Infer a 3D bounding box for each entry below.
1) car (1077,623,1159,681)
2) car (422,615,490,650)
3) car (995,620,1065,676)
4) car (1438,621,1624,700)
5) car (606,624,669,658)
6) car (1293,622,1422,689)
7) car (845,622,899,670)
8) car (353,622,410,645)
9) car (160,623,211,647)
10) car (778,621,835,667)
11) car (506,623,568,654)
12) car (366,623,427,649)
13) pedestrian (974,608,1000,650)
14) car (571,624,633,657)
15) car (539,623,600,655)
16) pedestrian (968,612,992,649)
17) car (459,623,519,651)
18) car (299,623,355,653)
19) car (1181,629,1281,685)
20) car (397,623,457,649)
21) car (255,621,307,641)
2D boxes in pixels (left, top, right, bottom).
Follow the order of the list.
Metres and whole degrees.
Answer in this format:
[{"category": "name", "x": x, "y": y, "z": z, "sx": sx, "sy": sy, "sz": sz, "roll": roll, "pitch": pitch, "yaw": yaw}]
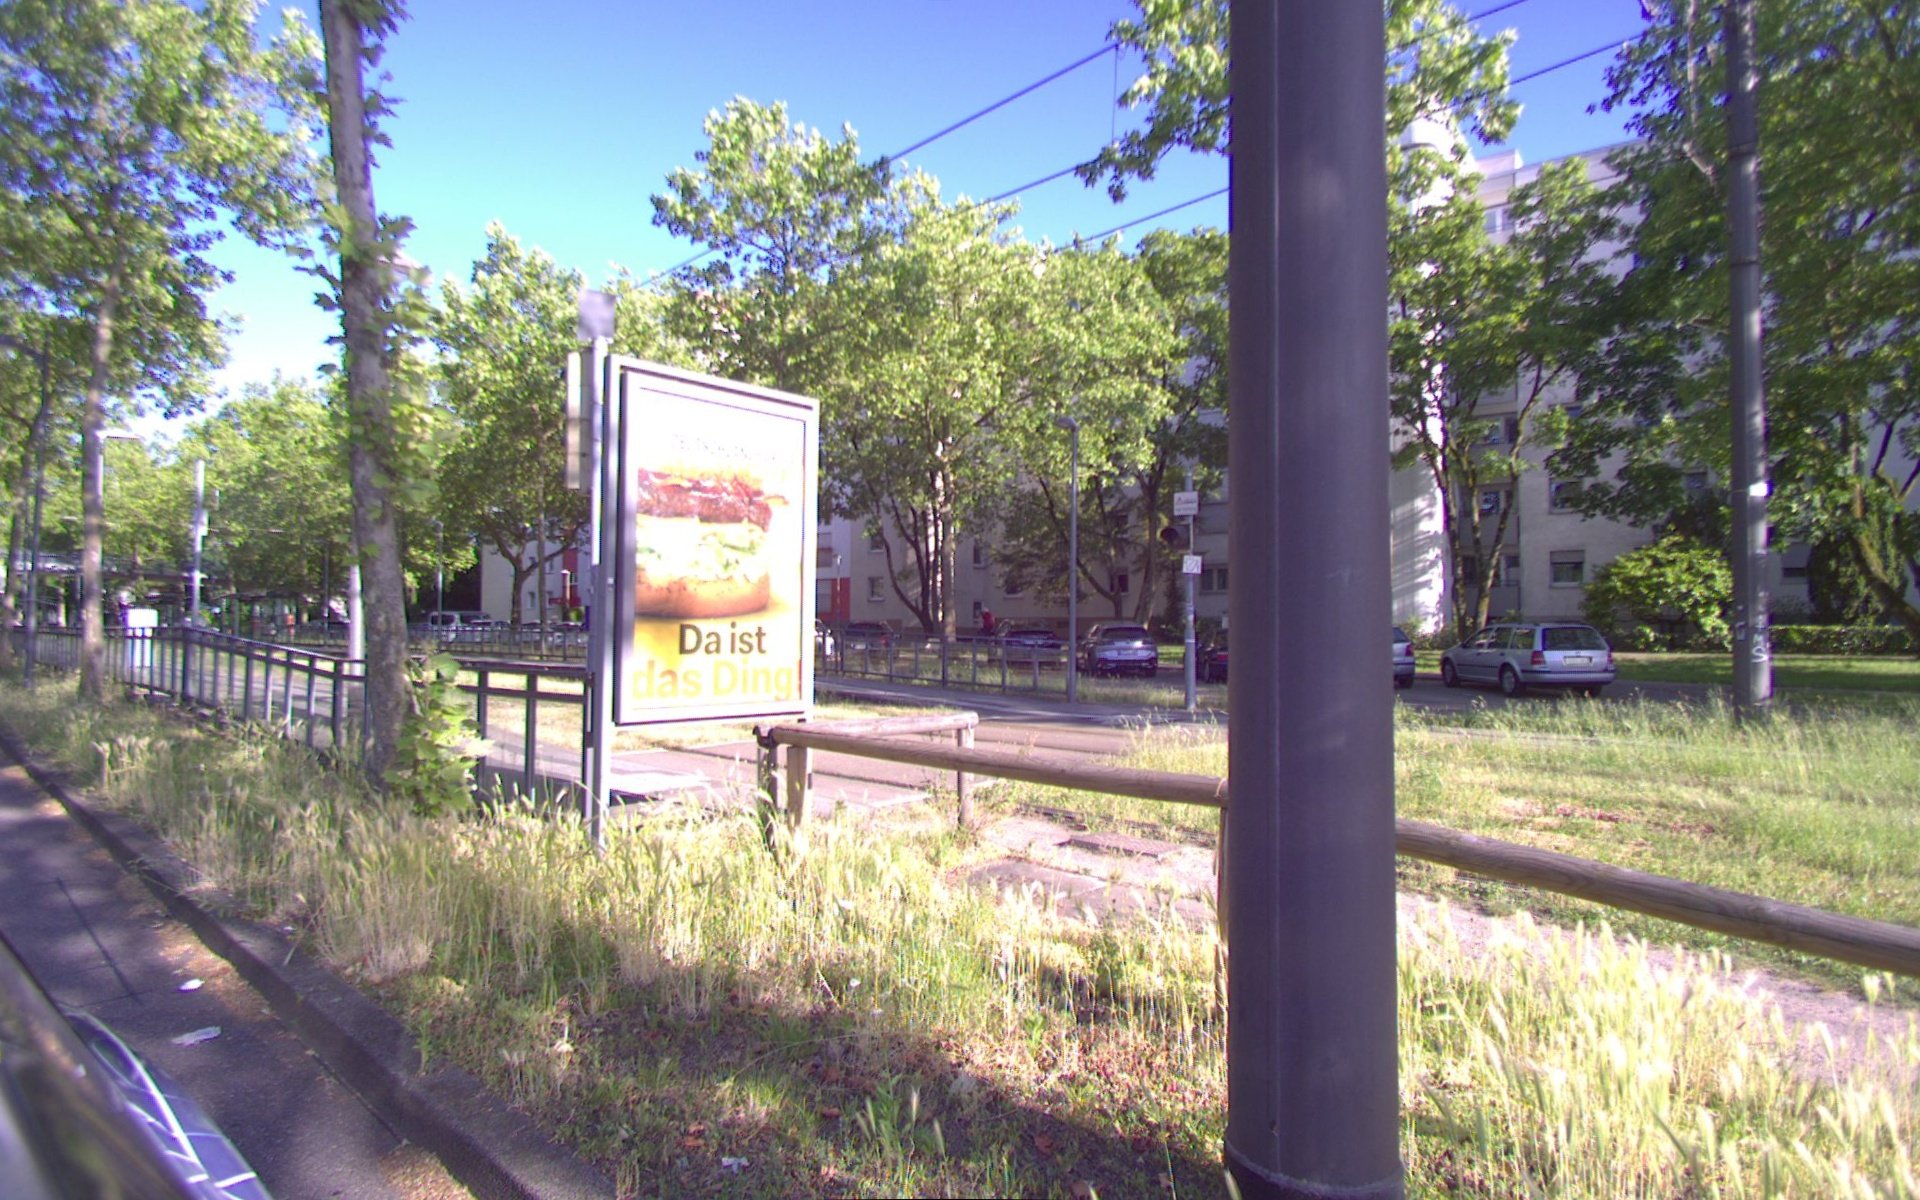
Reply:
[{"category": "car", "x": 4.219, "y": 1.361, "z": 27.523, "sx": 1.633, "sy": 1.413, "sz": 3.803, "roll": -1, "pitch": -1, "yaw": 0}, {"category": "car", "x": -28.454, "y": 1.818, "z": 57.256, "sx": 1.814, "sy": 1.888, "sz": 4.323, "roll": -1, "pitch": -1, "yaw": -2}, {"category": "car", "x": 1.984, "y": 1.351, "z": 29.670, "sx": 1.633, "sy": 1.522, "sz": 3.805, "roll": -1, "pitch": -1, "yaw": -2}, {"category": "car", "x": 11.475, "y": 1.158, "z": 20.669, "sx": 1.559, "sy": 1.413, "sz": 3.906, "roll": -1, "pitch": -1, "yaw": 0}, {"category": "car", "x": -14.063, "y": 1.760, "z": 44.339, "sx": 1.633, "sy": 1.366, "sz": 3.805, "roll": -1, "pitch": -1, "yaw": -2}, {"category": "car", "x": 9.144, "y": 1.236, "z": 23.595, "sx": 1.559, "sy": 1.413, "sz": 3.638, "roll": -1, "pitch": -1, "yaw": 0}, {"category": "car", "x": -2.975, "y": 1.523, "z": 34.652, "sx": 1.633, "sy": 1.522, "sz": 3.805, "roll": -1, "pitch": -1, "yaw": -2}, {"category": "car", "x": -37.886, "y": 2.165, "z": 66.380, "sx": 1.633, "sy": 1.452, "sz": 3.805, "roll": -1, "pitch": -1, "yaw": -2}, {"category": "car", "x": -60.108, "y": 2.713, "z": 78.556, "sx": 4.892, "sy": 1.835, "sz": 1.811, "roll": -1, "pitch": -1, "yaw": 36}, {"category": "car", "x": -5.565, "y": 1.565, "z": 37.021, "sx": 1.633, "sy": 1.522, "sz": 3.805, "roll": -1, "pitch": -1, "yaw": -2}, {"category": "car", "x": -21.337, "y": 1.934, "z": 51.186, "sx": 1.633, "sy": 1.452, "sz": 3.805, "roll": -1, "pitch": -1, "yaw": -2}, {"category": "car", "x": -33.695, "y": 2.107, "z": 60.604, "sx": 1.633, "sy": 1.452, "sz": 3.805, "roll": -1, "pitch": -1, "yaw": -2}, {"category": "pedestrian", "x": 1.155, "y": 1.224, "z": 43.217, "sx": 0.786, "sy": 1.745, "sz": 0.755, "roll": -1, "pitch": 0, "yaw": 39}, {"category": "car", "x": -16.626, "y": 1.850, "z": 47.162, "sx": 1.633, "sy": 1.452, "sz": 3.805, "roll": -1, "pitch": -1, "yaw": -2}, {"category": "car", "x": -19.045, "y": 1.891, "z": 49.542, "sx": 1.633, "sy": 1.452, "sz": 3.805, "roll": -1, "pitch": -1, "yaw": -2}, {"category": "pedestrian", "x": 0.909, "y": 1.389, "z": 46.176, "sx": 0.786, "sy": 1.635, "sz": 0.755, "roll": -1, "pitch": 0, "yaw": 39}, {"category": "car", "x": -25.872, "y": 1.993, "z": 55.662, "sx": 1.633, "sy": 1.452, "sz": 3.805, "roll": -1, "pitch": -1, "yaw": -2}, {"category": "car", "x": -36.250, "y": 2.135, "z": 57.904, "sx": 4.293, "sy": 1.631, "sz": 1.634, "roll": -2, "pitch": -1, "yaw": 42}, {"category": "car", "x": 6.676, "y": 1.375, "z": 25.281, "sx": 1.445, "sy": 1.234, "sz": 3.815, "roll": -1, "pitch": -1, "yaw": 0}, {"category": "car", "x": -31.332, "y": 2.076, "z": 59.601, "sx": 1.633, "sy": 1.452, "sz": 3.805, "roll": -1, "pitch": -1, "yaw": -2}, {"category": "car", "x": -53.052, "y": 2.393, "z": 79.153, "sx": 1.633, "sy": 1.452, "sz": 3.805, "roll": -1, "pitch": -1, "yaw": -2}]
